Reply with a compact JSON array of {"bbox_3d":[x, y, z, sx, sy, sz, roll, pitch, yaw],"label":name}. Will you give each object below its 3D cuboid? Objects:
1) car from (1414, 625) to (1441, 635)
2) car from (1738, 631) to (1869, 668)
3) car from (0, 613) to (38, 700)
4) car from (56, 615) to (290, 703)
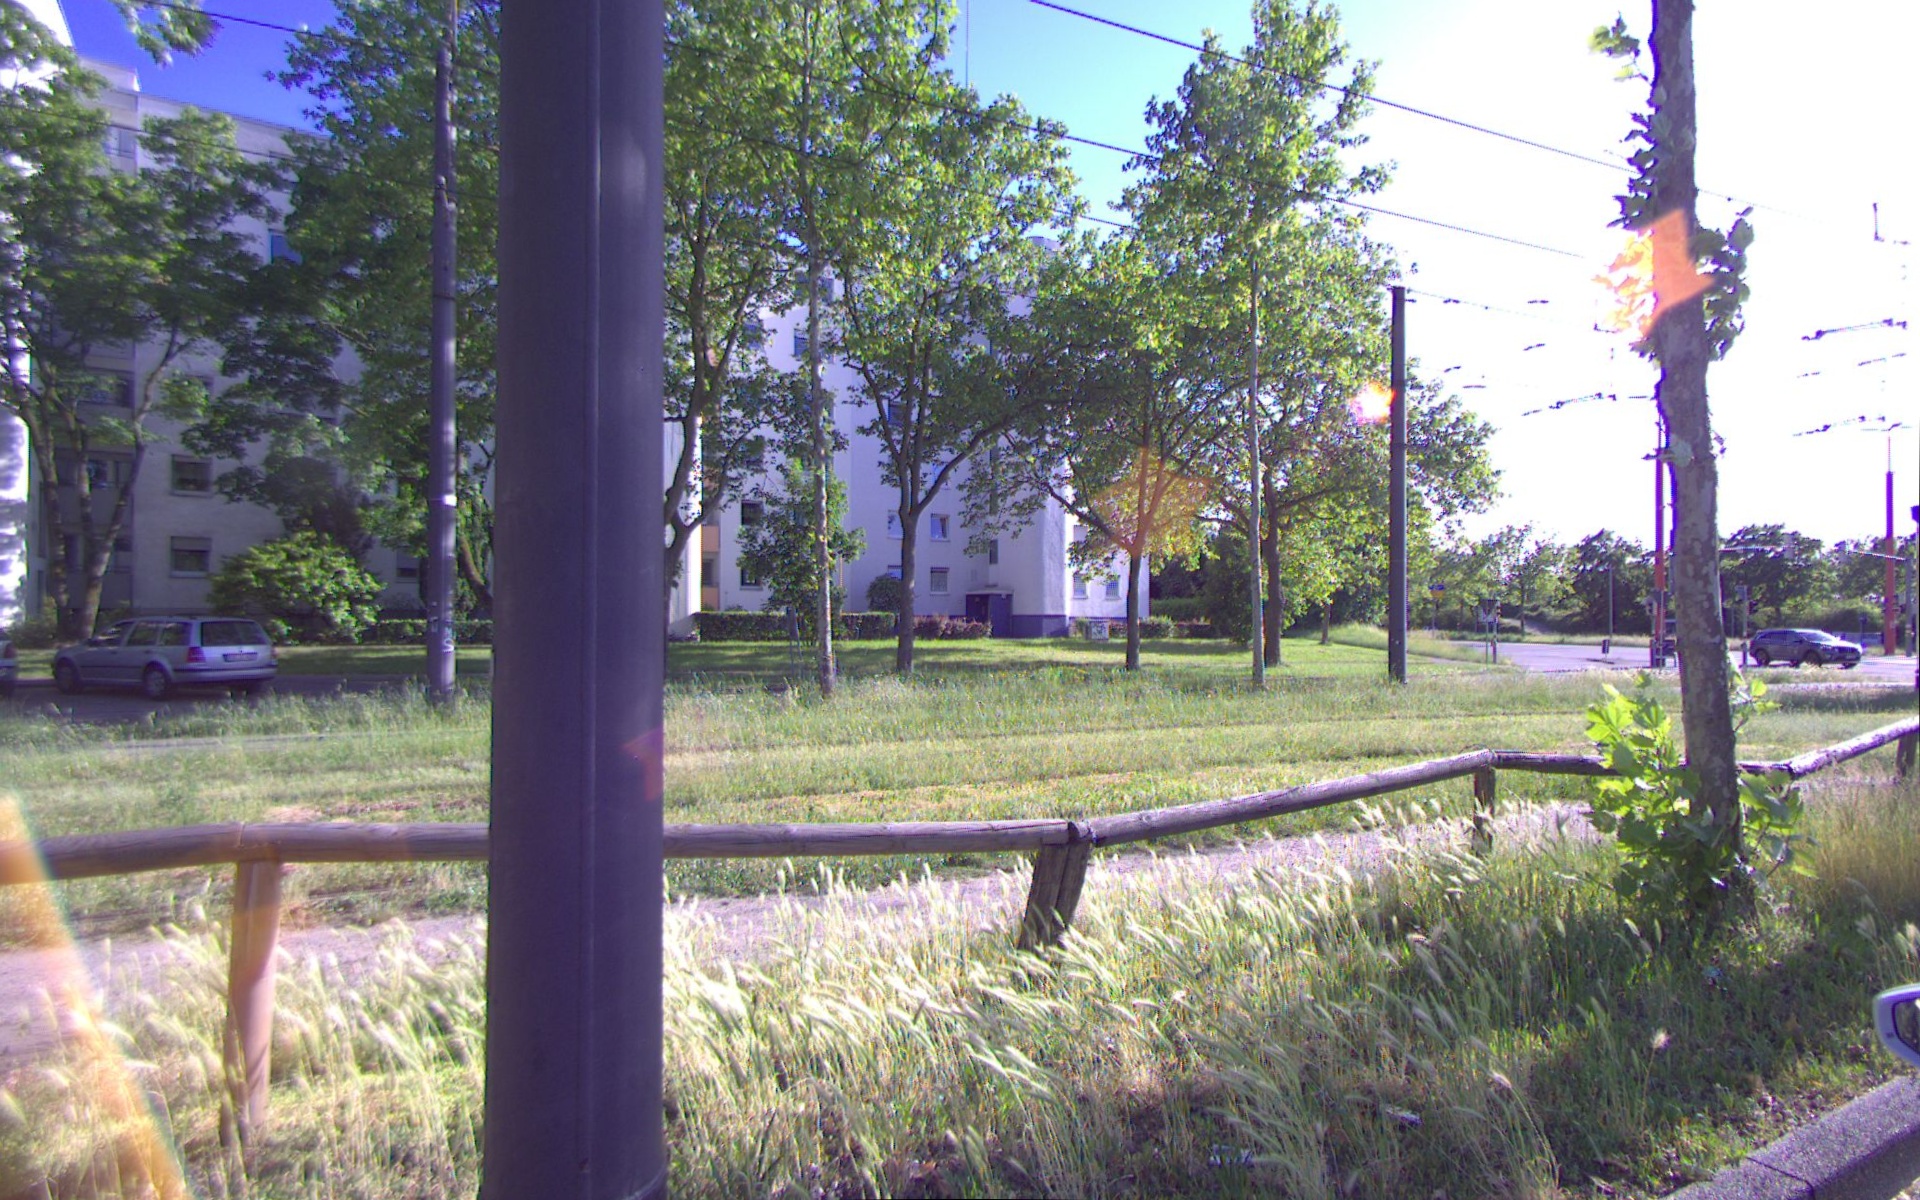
[{"bbox_3d":[61.899,3.934,133.064,1.630,1.327,3.815,1,-1,-1],"label":"car"},{"bbox_3d":[39.147,2.251,46.776,1.962,1.564,4.645,1,-1,-5],"label":"car"},{"bbox_3d":[-17.908,0.928,17.150,3.609,1.452,1.703,0,-1,20],"label":"car"},{"bbox_3d":[-14.464,1.027,18.494,3.609,1.452,1.732,0,-1,20],"label":"car"}]
